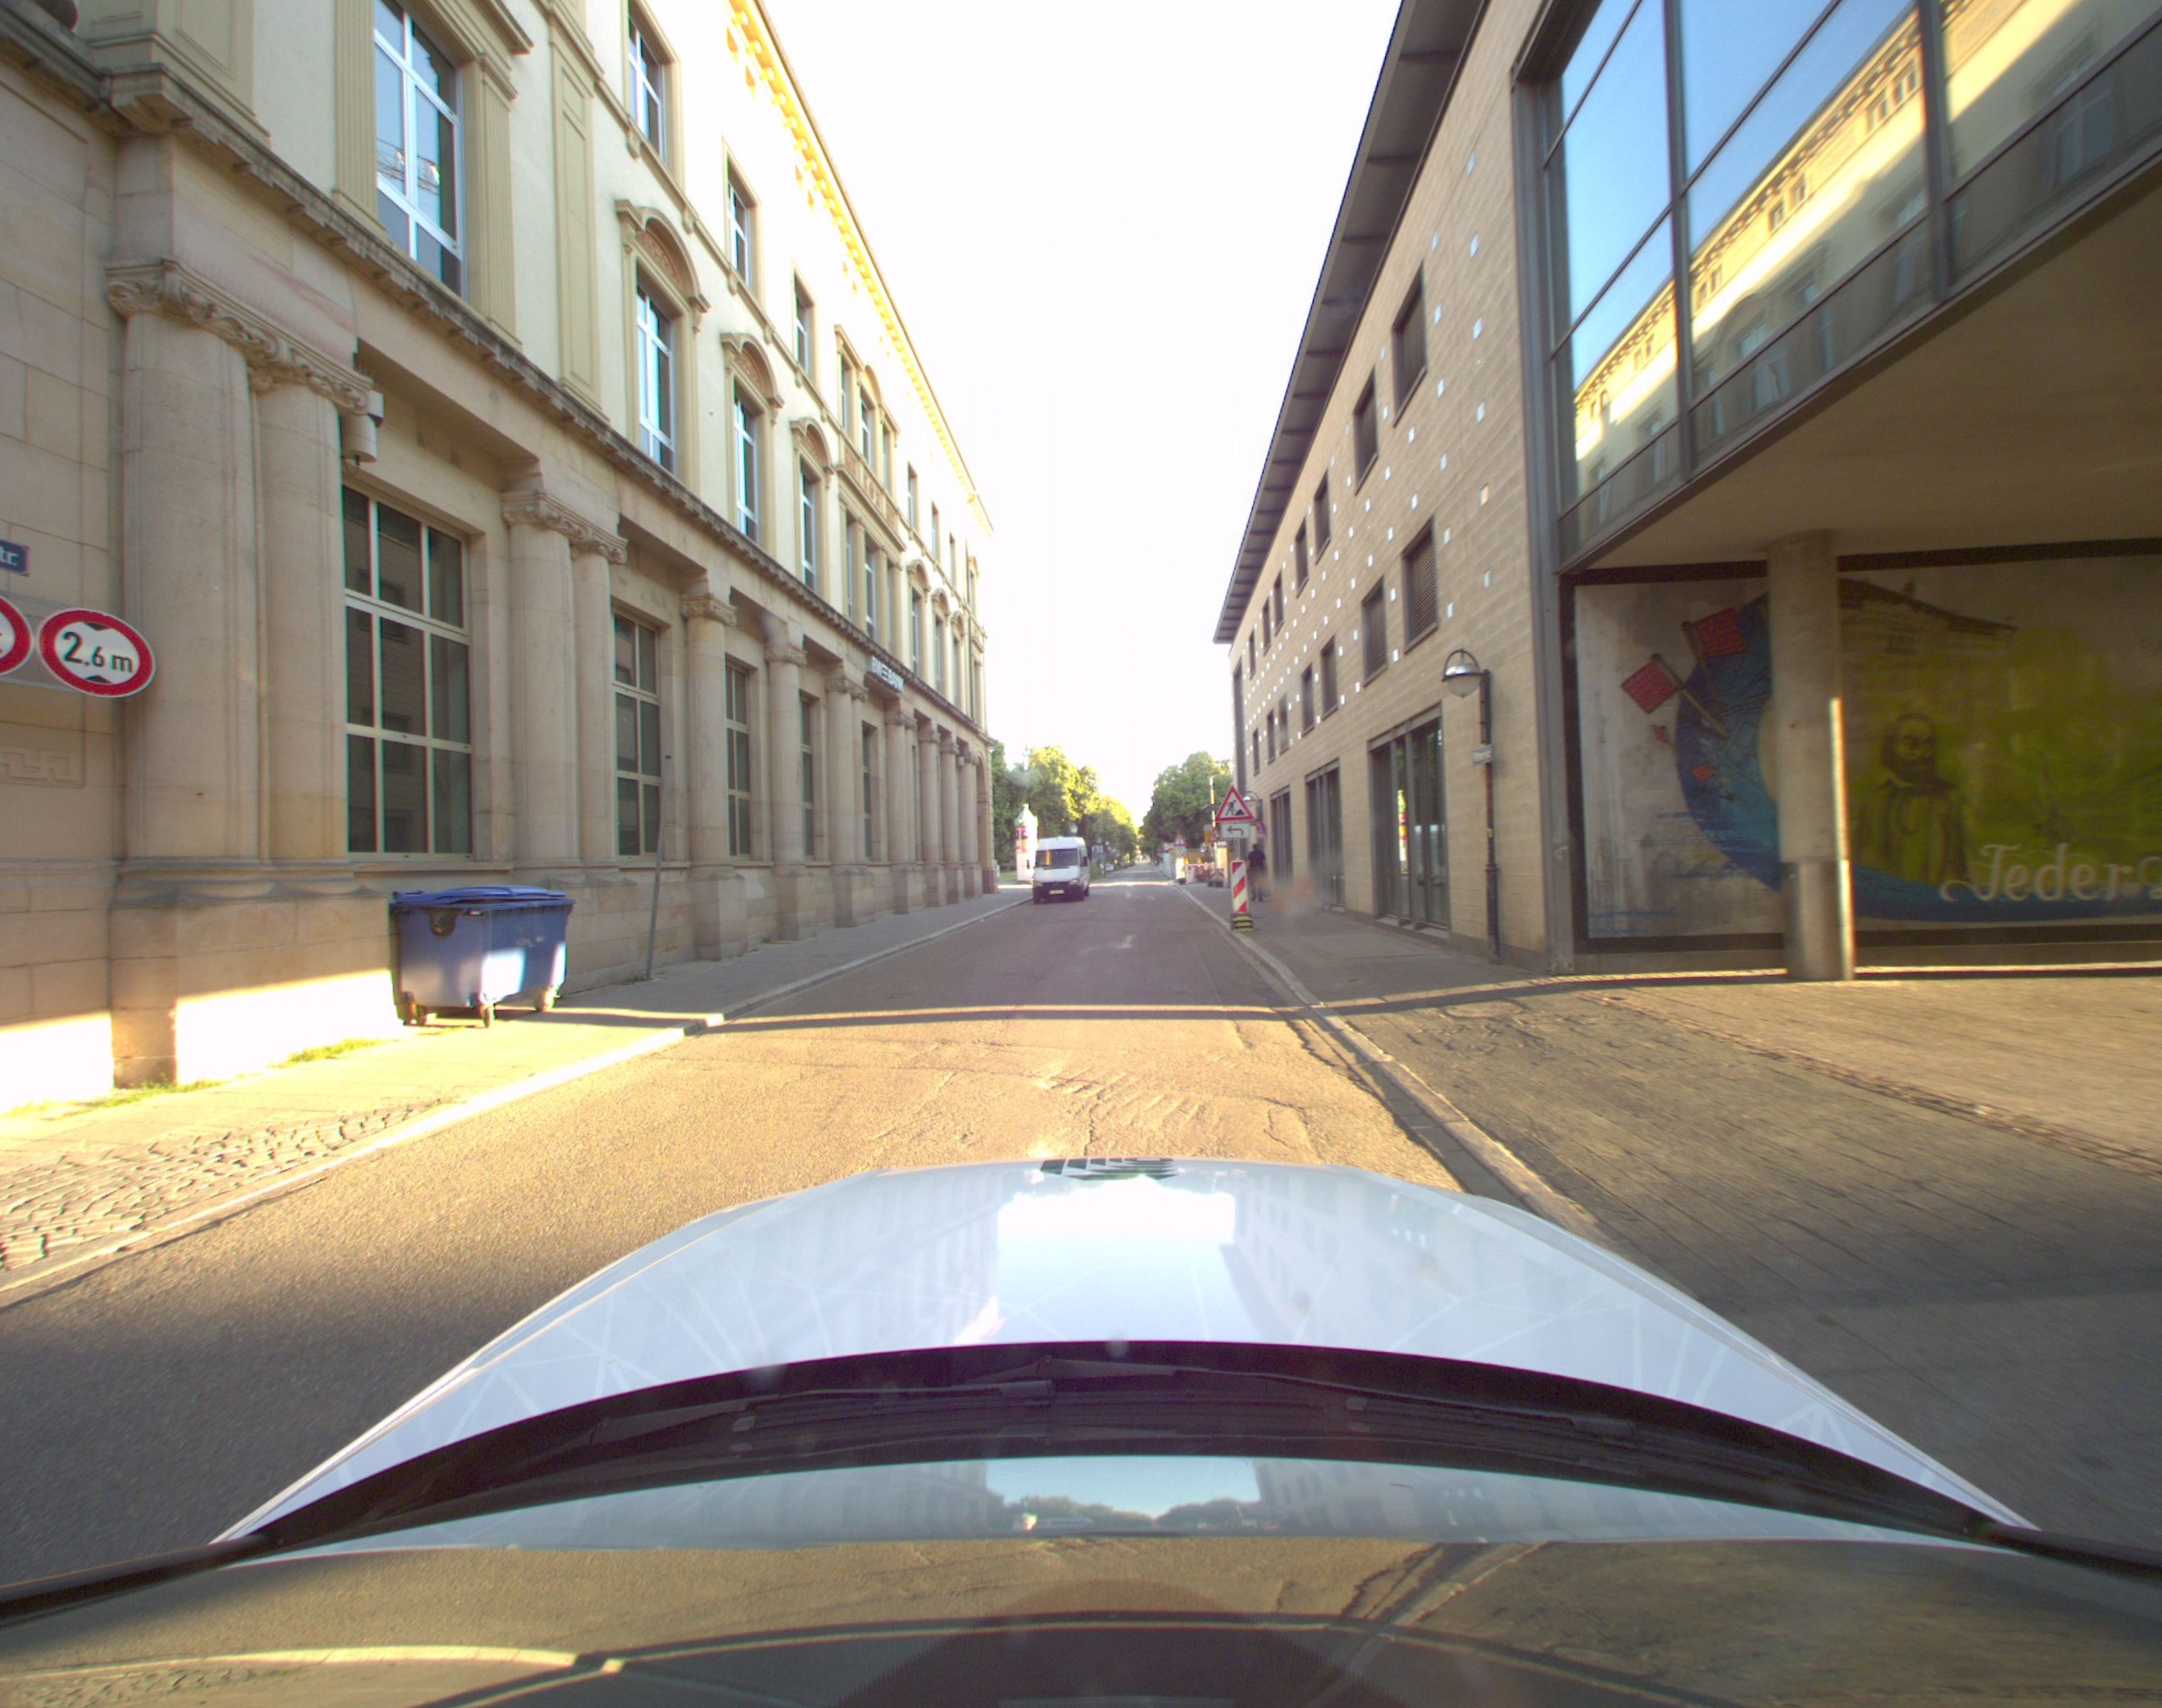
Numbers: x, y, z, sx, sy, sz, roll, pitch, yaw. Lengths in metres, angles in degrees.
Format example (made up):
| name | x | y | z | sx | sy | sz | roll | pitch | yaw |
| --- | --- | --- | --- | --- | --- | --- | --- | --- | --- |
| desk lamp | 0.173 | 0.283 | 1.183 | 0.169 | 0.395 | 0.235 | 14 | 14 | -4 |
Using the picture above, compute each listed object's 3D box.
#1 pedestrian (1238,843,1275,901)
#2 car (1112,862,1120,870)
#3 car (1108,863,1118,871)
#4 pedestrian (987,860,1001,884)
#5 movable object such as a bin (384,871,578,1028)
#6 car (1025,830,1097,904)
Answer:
| name | x | y | z | sx | sy | sz | roll | pitch | yaw |
| --- | --- | --- | --- | --- | --- | --- | --- | --- | --- |
| pedestrian | 5.453 | 0.555 | 25.344 | 0.919 | 1.702 | 0.869 | -3 | -1 | 3 |
| car | 7.000 | 2.356 | 161.356 | 1.461 | 1.404 | 3.683 | -1 | -1 | 4 |
| car | 5.311 | 2.124 | 135.335 | 1.461 | 1.256 | 3.683 | -1 | -1 | 4 |
| pedestrian | -6.382 | 1.338 | 59.906 | 0.741 | 1.702 | 0.705 | -3 | -1 | 11 |
| movable object such as a bin | -6.113 | 0.924 | 8.380 | 1.068 | 1.475 | 1.190 | -1 | -1 | 8 |
| car | -0.656 | 0.484 | 32.912 | 1.986 | 2.512 | 6.478 | -6 | -1 | 5 |
